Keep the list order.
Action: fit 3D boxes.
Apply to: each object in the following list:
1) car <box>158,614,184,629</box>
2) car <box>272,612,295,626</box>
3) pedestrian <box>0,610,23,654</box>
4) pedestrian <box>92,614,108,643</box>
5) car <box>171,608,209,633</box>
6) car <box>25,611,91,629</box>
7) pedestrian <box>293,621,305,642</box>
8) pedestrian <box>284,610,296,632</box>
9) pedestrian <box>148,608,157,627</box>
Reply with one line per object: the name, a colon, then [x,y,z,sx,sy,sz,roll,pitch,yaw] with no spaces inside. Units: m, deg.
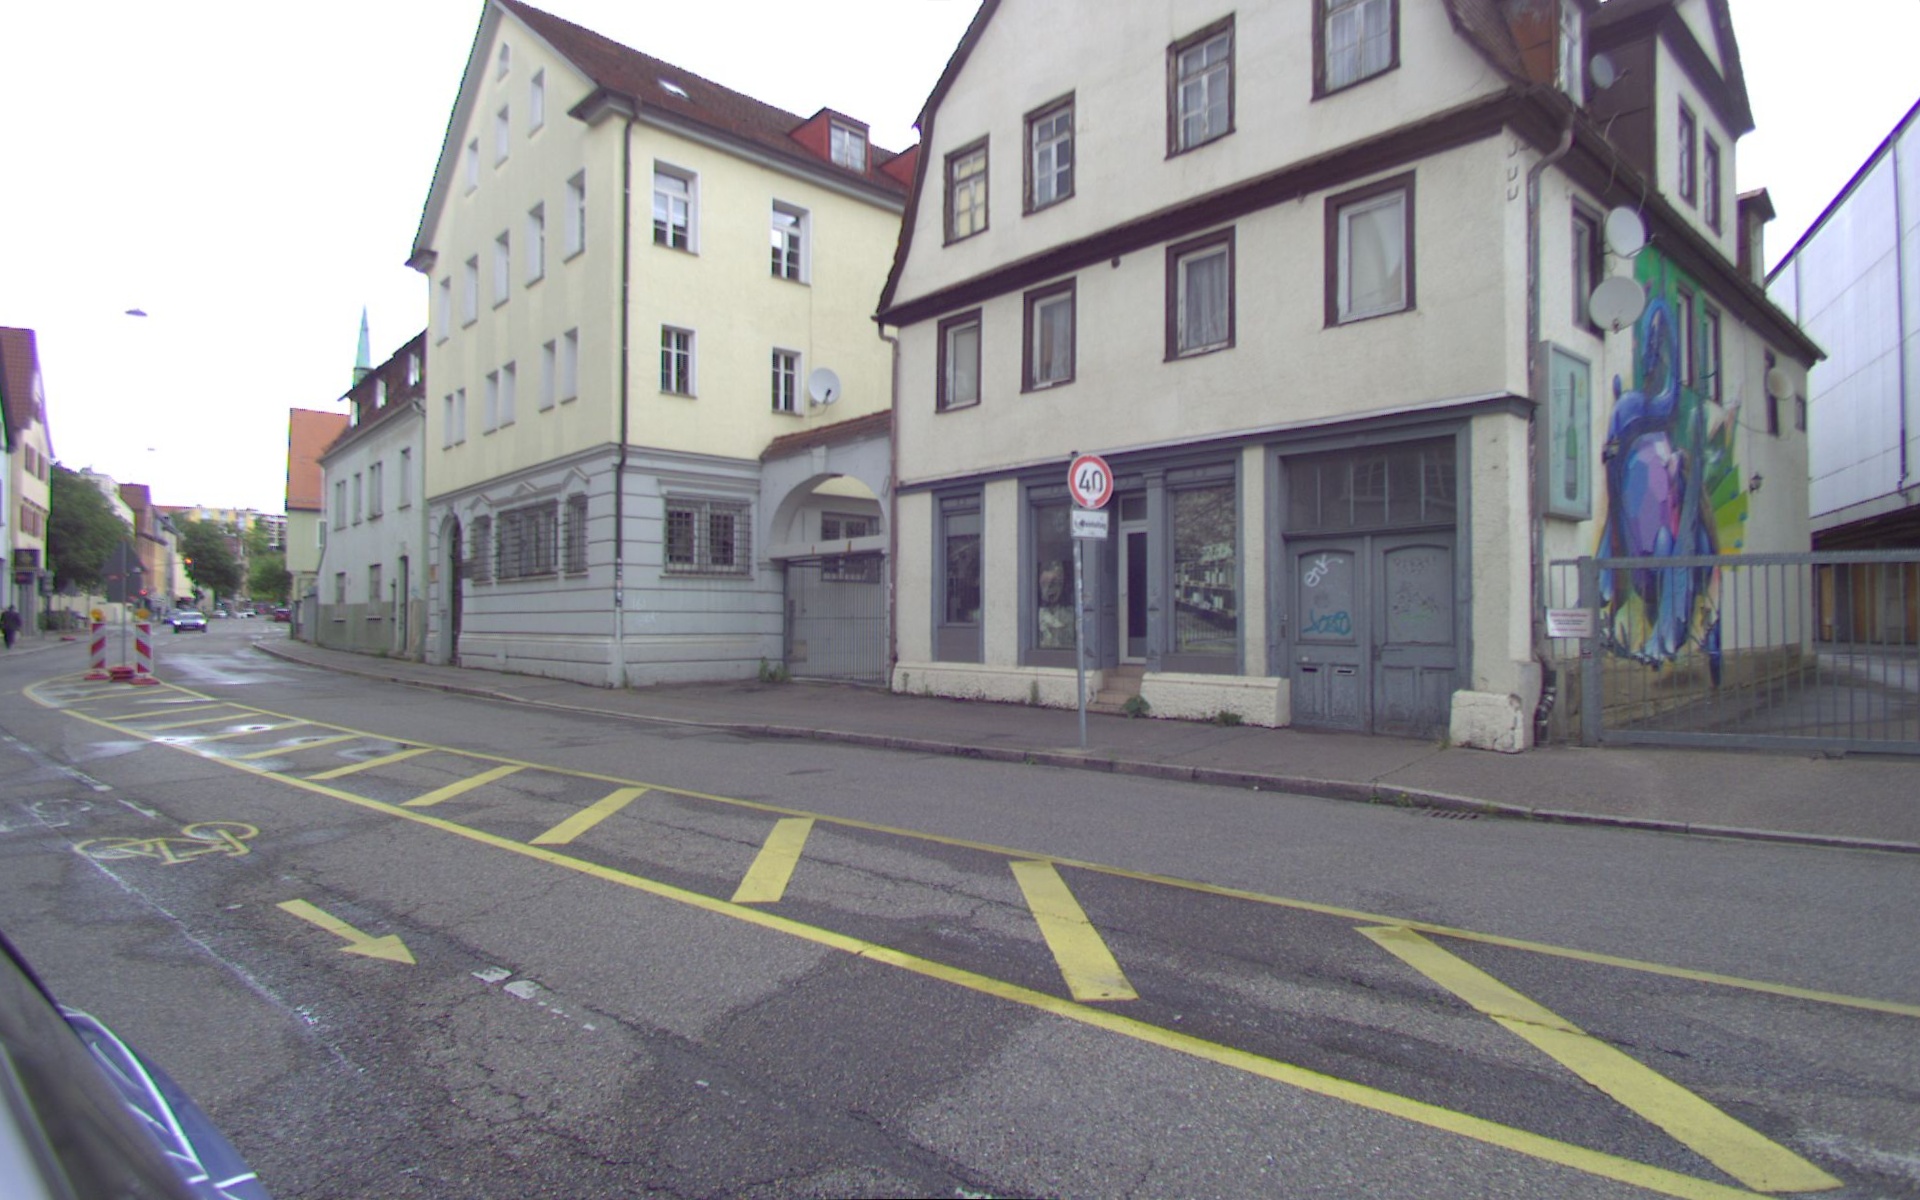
car: [-84.972,2.286,109.012,2.001,1.567,4.010,2,-2,-35]
car: [-85.880,2.448,128.442,2.178,1.690,4.509,2,-2,-36]
pedestrian: [-36.733,1.233,38.940,0.820,1.668,0.946,1,-2,-34]
pedestrian: [-70.536,2.347,83.015,0.888,2.328,0.822,1,-2,-36]
car: [-55.121,1.466,72.478,1.967,1.691,4.010,0,0,-34]
car: [-77.431,1.737,86.911,3.932,1.475,2.006,0,0,-33]
pedestrian: [-66.615,3.156,101.988,0.749,2.138,0.782,-1,-2,5]
pedestrian: [-67.486,2.116,101.937,0.749,2.138,0.782,-1,-2,5]
pedestrian: [-88.184,1.932,110.553,0.650,2.131,0.647,1,-2,-34]
